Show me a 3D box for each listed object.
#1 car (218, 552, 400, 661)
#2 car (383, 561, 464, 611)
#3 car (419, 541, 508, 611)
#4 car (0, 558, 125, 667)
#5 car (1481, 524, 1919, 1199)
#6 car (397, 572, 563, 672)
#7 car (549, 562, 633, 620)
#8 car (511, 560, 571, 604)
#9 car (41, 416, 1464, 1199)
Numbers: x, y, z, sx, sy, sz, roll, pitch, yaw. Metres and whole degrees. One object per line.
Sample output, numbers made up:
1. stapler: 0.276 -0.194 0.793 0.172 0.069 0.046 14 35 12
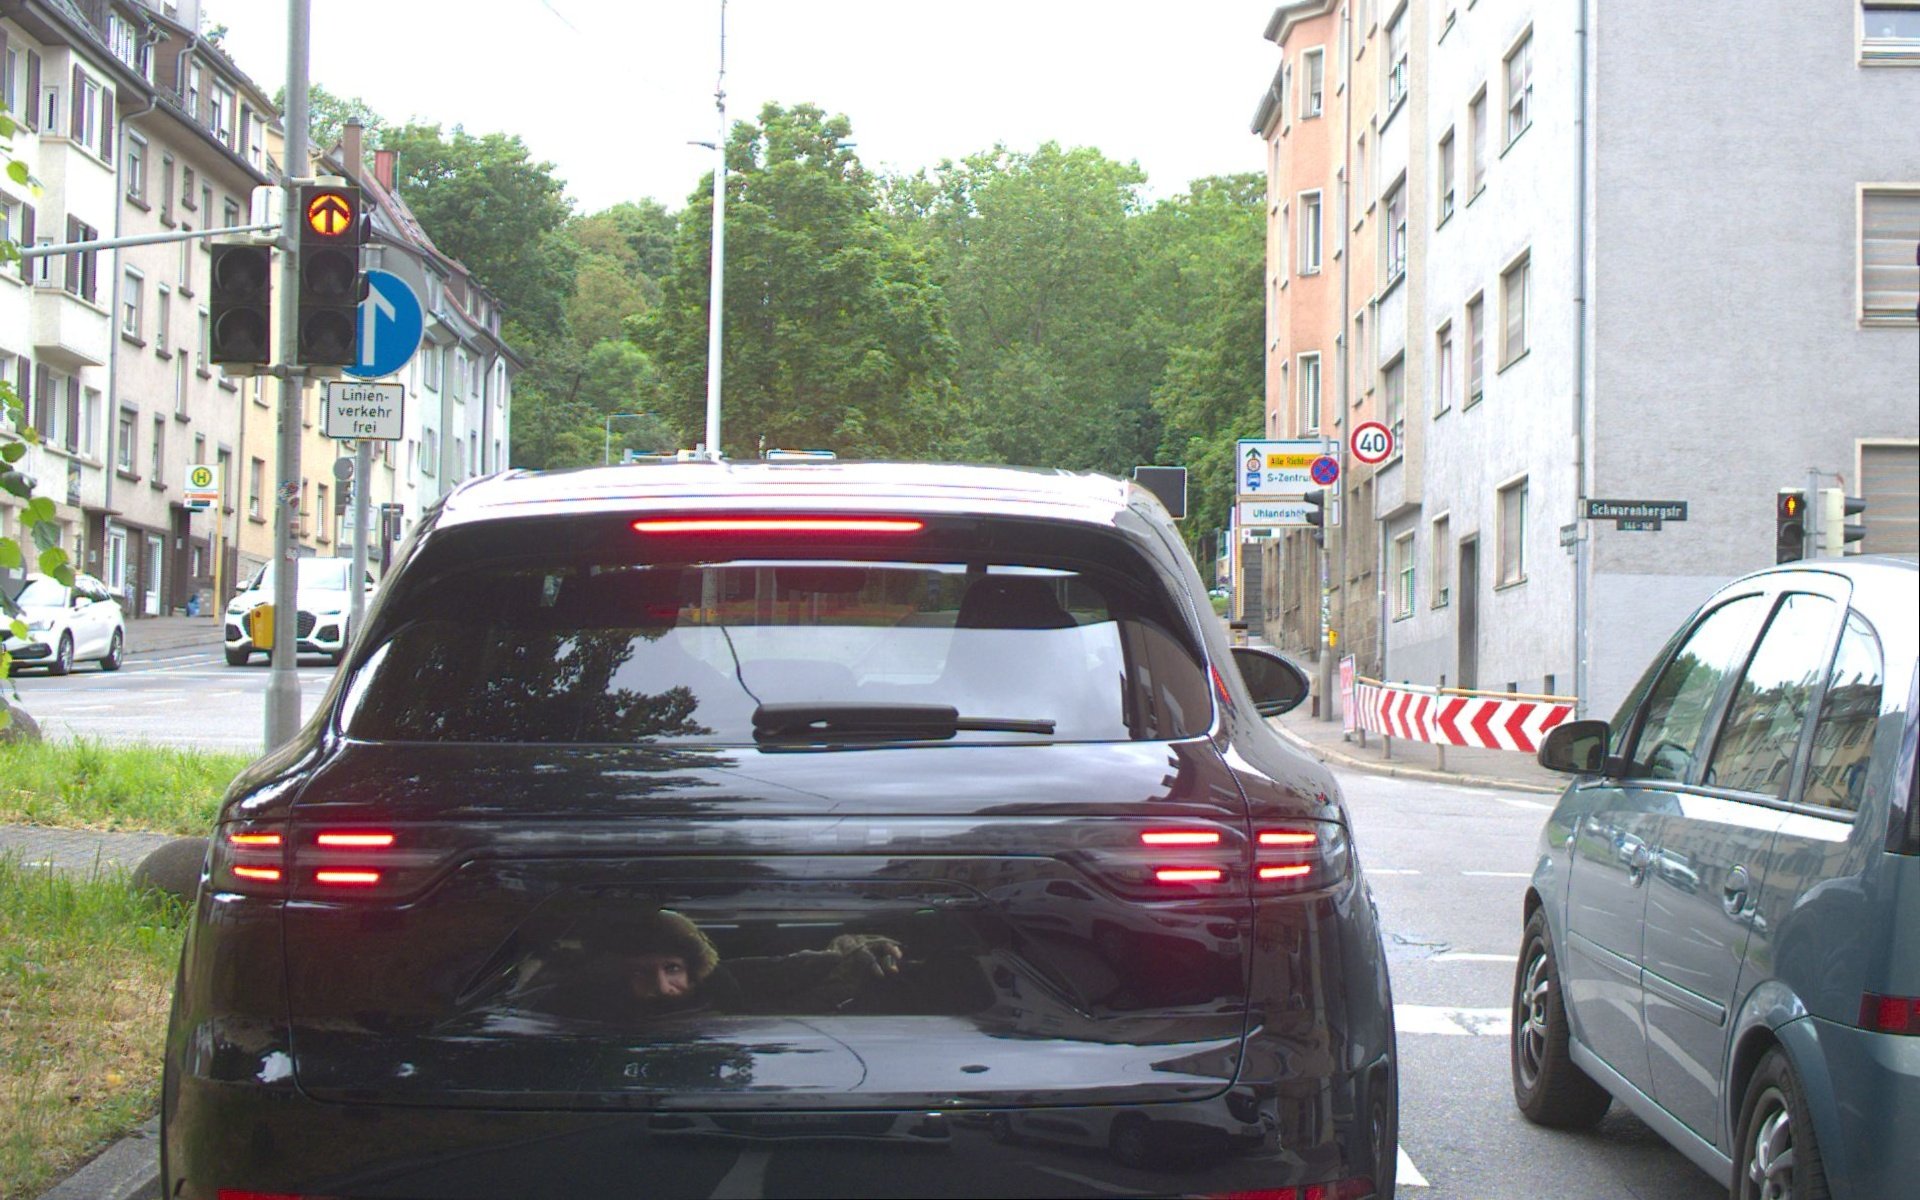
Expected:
1. car: -10.104 0.078 53.685 1.974 1.605 4.558 1 1 0
2. car: -15.413 -0.415 98.891 1.739 1.382 3.814 1 1 0
3. car: -15.087 -0.742 104.676 2.016 2.038 4.667 1 1 0
4. car: -13.280 0.145 48.965 1.844 1.481 3.898 1 1 0
5. car: 2.356 0.694 7.882 1.628 1.592 3.669 4 1 -1
6. car: -7.012 0.291 50.586 1.862 1.383 4.094 1 1 0
7. car: -9.689 -0.227 90.503 1.619 1.475 3.823 1 -1 3
8. car: -15.281 -0.668 125.502 1.689 1.533 3.814 1 1 0
9. car: -0.308 0.563 6.734 1.955 1.669 4.000 0 1 -1
